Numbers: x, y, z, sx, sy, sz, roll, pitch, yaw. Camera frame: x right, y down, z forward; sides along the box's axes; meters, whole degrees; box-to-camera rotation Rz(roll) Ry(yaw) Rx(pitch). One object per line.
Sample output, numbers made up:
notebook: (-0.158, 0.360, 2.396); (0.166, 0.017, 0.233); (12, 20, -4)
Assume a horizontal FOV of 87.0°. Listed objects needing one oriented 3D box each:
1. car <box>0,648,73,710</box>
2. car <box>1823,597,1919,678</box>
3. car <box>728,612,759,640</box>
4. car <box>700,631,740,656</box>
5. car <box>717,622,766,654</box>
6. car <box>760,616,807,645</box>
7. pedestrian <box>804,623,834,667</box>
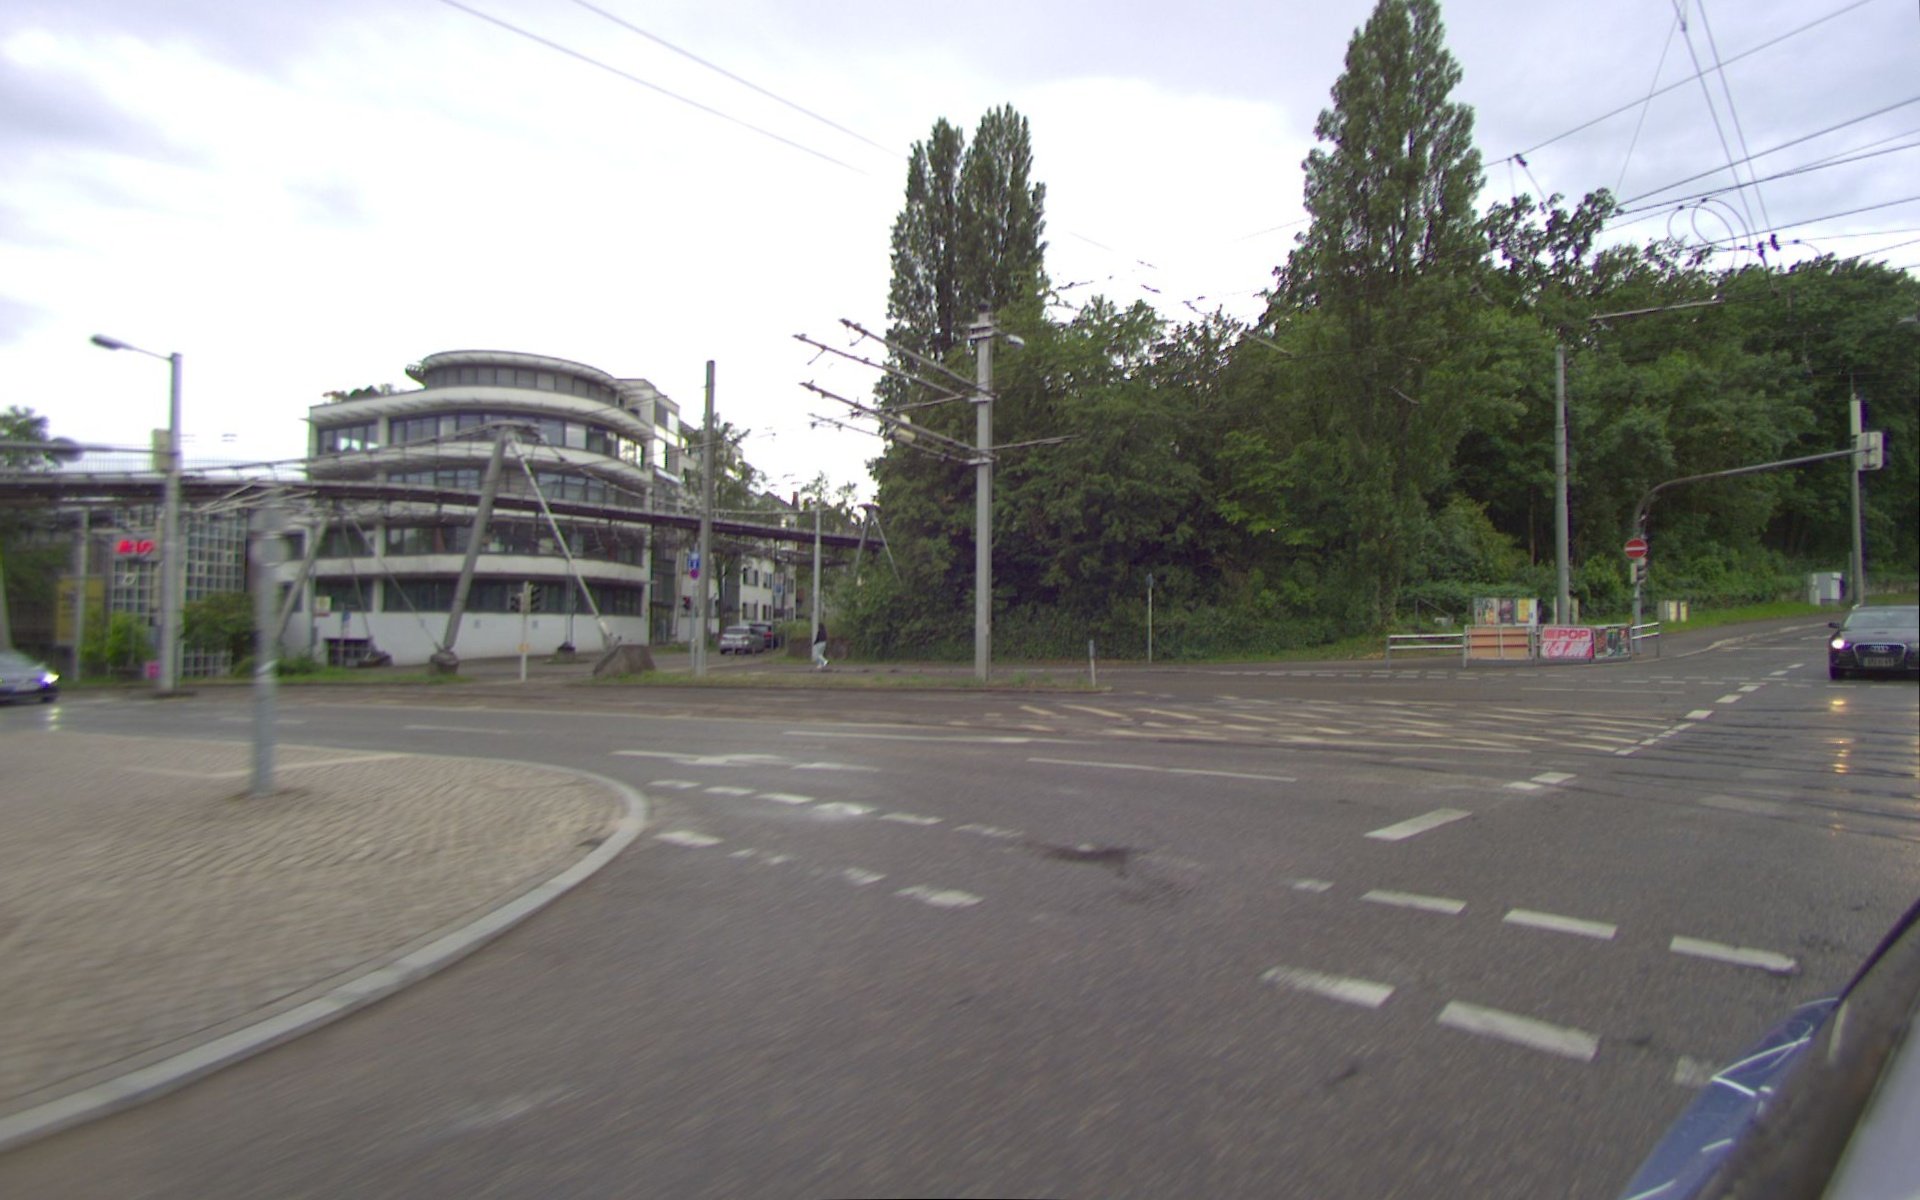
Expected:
car: (-25.743, 2.065, 26.856); (4.223, 1.473, 1.980); (-1, 0, 29)
car: (20.811, 0.754, 22.121); (3.922, 1.608, 1.858); (-1, 0, -32)
car: (-16.318, 1.984, 76.367); (1.604, 2.003, 3.377); (-1, -2, 0)
car: (-15.313, 2.779, 64.793); (1.605, 1.582, 3.374); (-1, -2, 3)
car: (-11.485, 1.995, 53.468); (1.605, 1.582, 3.747); (-1, -2, 3)
car: (-10.148, 1.786, 58.286); (1.708, 1.582, 3.744); (-1, -2, 6)
pedestrian: (-5.069, 1.621, 36.429); (0.650, 1.575, 0.800); (-2, -5, 34)
